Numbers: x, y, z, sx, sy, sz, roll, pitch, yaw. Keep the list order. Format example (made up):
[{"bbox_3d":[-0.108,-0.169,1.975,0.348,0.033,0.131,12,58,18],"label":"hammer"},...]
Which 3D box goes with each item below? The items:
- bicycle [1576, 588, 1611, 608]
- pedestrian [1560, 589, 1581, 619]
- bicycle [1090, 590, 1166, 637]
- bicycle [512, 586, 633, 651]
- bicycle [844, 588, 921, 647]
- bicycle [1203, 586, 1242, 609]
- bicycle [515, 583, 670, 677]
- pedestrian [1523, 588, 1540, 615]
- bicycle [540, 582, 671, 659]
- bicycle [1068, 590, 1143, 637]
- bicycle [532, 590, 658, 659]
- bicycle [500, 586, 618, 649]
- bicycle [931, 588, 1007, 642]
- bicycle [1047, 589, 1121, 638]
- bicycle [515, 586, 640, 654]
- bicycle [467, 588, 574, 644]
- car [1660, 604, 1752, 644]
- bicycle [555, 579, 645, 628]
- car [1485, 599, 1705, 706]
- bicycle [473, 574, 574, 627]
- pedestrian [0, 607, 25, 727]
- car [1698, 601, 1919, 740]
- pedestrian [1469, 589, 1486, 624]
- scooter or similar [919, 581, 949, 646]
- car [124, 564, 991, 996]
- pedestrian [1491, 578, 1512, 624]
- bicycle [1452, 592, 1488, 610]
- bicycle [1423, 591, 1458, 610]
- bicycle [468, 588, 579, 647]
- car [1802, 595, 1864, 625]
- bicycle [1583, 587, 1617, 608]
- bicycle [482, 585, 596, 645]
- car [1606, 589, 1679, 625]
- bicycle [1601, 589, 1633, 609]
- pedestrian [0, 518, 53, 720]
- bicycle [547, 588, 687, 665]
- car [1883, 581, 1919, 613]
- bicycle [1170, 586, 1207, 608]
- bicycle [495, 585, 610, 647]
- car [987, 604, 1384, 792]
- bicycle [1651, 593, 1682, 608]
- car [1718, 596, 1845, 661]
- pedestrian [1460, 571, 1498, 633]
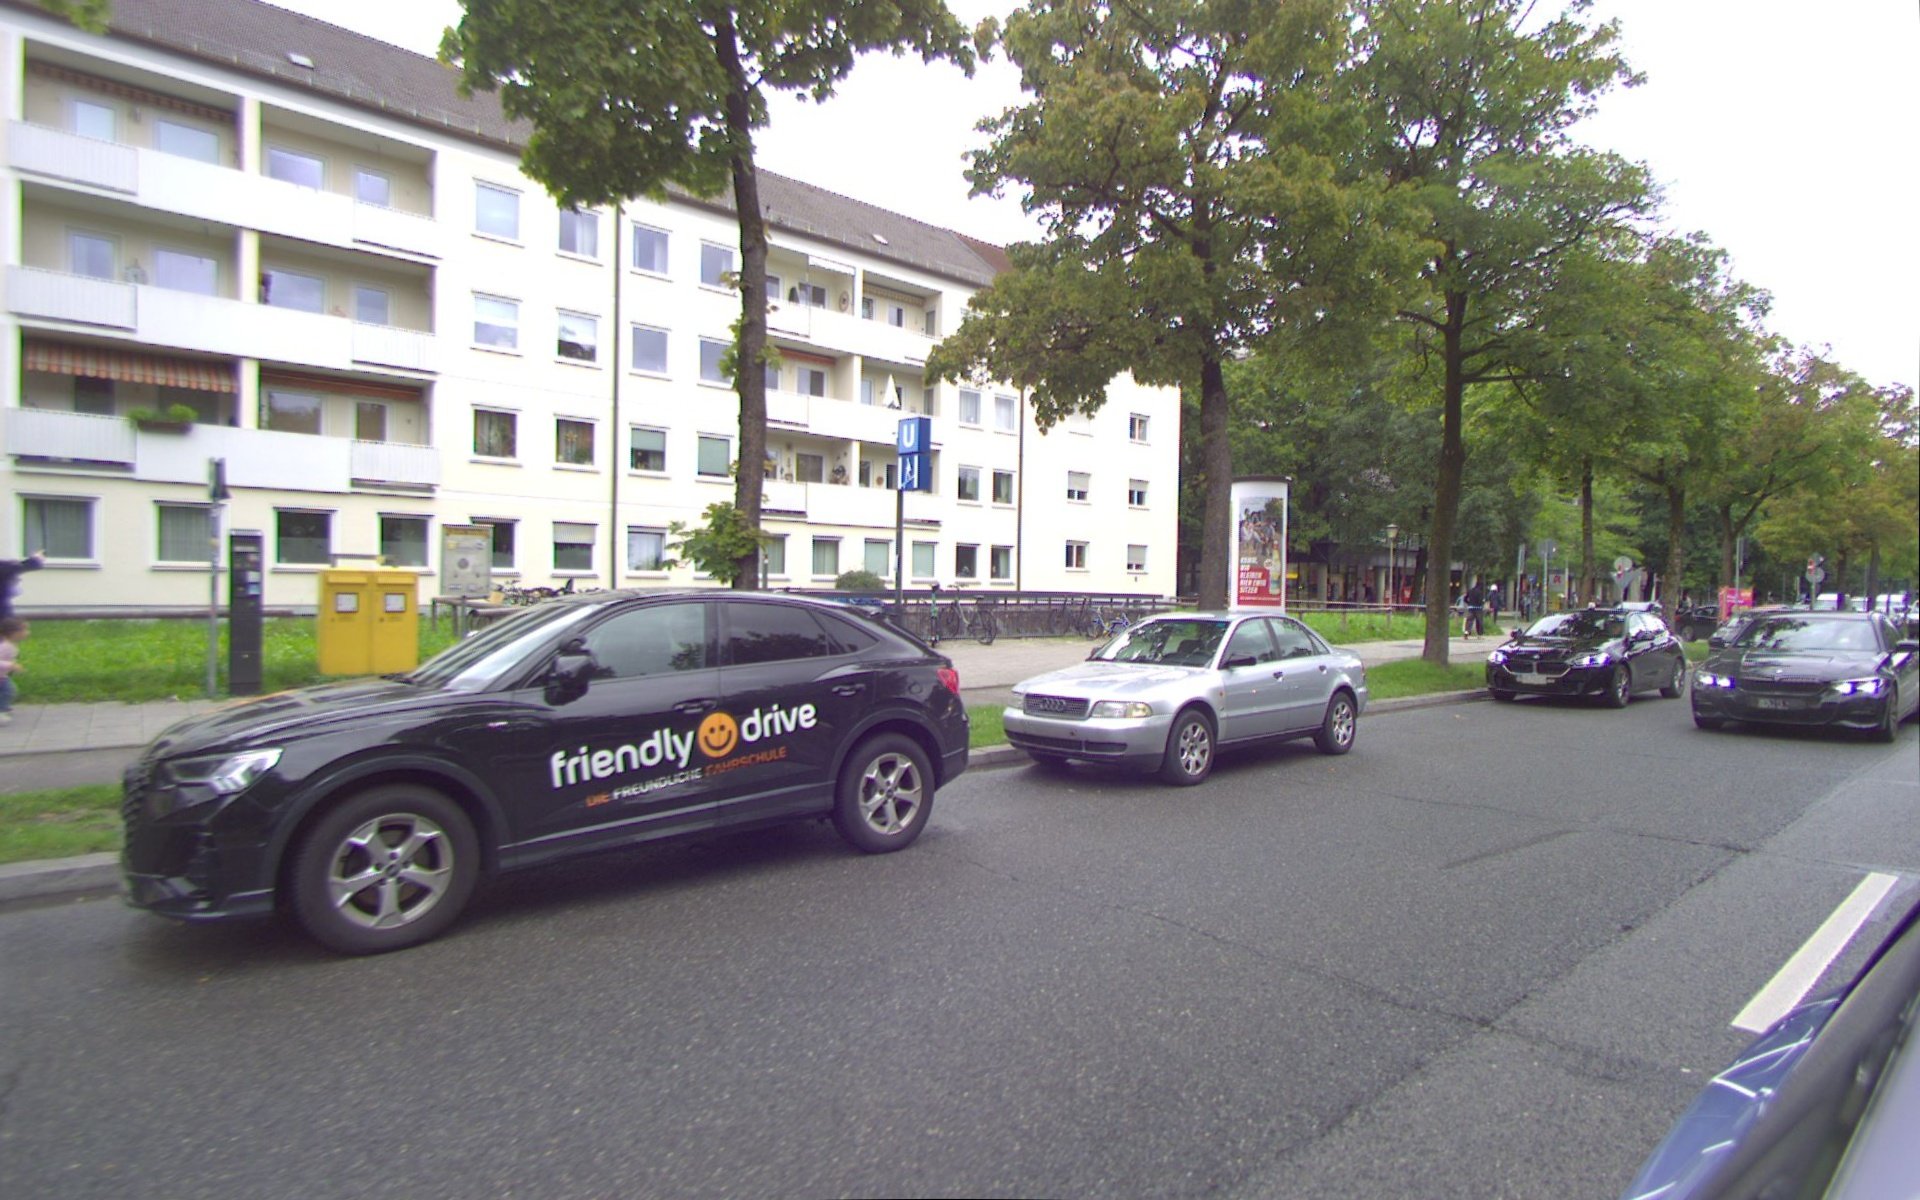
[{"bbox_3d":[51.215,-0.138,81.803,0.638,1.551,2.312,1,1,-40],"label":"bicycle"},{"bbox_3d":[34.530,0.224,57.222,0.738,1.614,0.660,1,1,-22],"label":"pedestrian"},{"bbox_3d":[4.055,0.304,24.573,1.877,1.041,0.426,3,2,43],"label":"bicycle"},{"bbox_3d":[-6.501,0.302,17.027,1.850,1.041,0.432,1,1,-40],"label":"bicycle"},{"bbox_3d":[-1.540,0.317,19.796,0.425,1.041,1.880,0,2,-43],"label":"bicycle"},{"bbox_3d":[11.766,-0.133,45.340,0.448,0.983,1.693,1,1,-43],"label":"bicycle"},{"bbox_3d":[-4.793,0.382,13.284,1.850,1.147,0.432,1,1,-40],"label":"bicycle"},{"bbox_3d":[34.060,0.092,60.350,0.621,1.561,0.659,2,2,8],"label":"pedestrian"},{"bbox_3d":[-5.453,0.304,15.635,1.850,1.115,0.432,1,1,-40],"label":"bicycle"},{"bbox_3d":[3.491,0.299,24.393,1.878,1.041,0.426,3,2,45],"label":"bicycle"},{"bbox_3d":[-5.831,0.373,16.239,1.850,1.041,0.432,1,1,-40],"label":"bicycle"},{"bbox_3d":[-6.962,0.295,17.643,1.850,1.041,0.432,1,1,-40],"label":"bicycle"},{"bbox_3d":[0.176,0.302,21.439,0.425,1.041,1.880,0,2,-43],"label":"bicycle"},{"bbox_3d":[2.903,0.303,23.772,0.425,1.041,1.880,0,2,-43],"label":"bicycle"},{"bbox_3d":[-6.250,0.319,16.605,1.850,1.041,0.432,1,1,-40],"label":"bicycle"},{"bbox_3d":[-8.551,0.308,19.748,1.850,1.041,0.432,1,1,-40],"label":"bicycle"},{"bbox_3d":[27.763,0.847,37.635,4.273,1.397,1.726,0,0,-39],"label":"car"},{"bbox_3d":[-8.020,0.085,22.607,1.850,1.041,0.432,1,1,-40],"label":"bicycle"},{"bbox_3d":[10.118,0.734,16.027,4.101,1.484,1.754,0,-1,-40],"label":"car"},{"bbox_3d":[-8.986,0.020,20.882,1.850,1.041,0.432,1,1,-40],"label":"bicycle"},{"bbox_3d":[-7.992,0.543,8.326,0.427,0.961,0.408,0,1,-41],"label":"pedestrian"},{"bbox_3d":[10.794,0.739,12.560,4.385,1.431,1.761,0,-1,-42],"label":"car"},{"bbox_3d":[23.901,0.312,46.718,0.573,1.594,0.777,0,0,18],"label":"pedestrian"},{"bbox_3d":[-0.504,0.252,19.937,0.352,1.215,1.388,1,1,7],"label":"scooter or similar"},{"bbox_3d":[-1.950,0.654,5.676,4.200,1.552,1.720,0,-1,-41],"label":"car"},{"bbox_3d":[21.110,0.034,39.455,0.633,1.752,0.597,0,0,19],"label":"pedestrian"},{"bbox_3d":[33.583,0.066,66.647,0.447,1.134,2.079,1,1,-40],"label":"bicycle"},{"bbox_3d":[31.264,0.019,65.894,0.447,1.134,2.079,1,1,-40],"label":"bicycle"},{"bbox_3d":[-8.123,0.315,18.893,1.850,1.041,0.432,1,1,-40],"label":"bicycle"},{"bbox_3d":[43.859,0.467,50.812,4.609,1.450,1.731,0,0,-41],"label":"car"},{"bbox_3d":[52.656,-0.197,83.299,0.638,1.643,2.312,1,1,-40],"label":"bicycle"},{"bbox_3d":[-7.618,0.267,18.374,1.850,1.041,0.432,1,1,-40],"label":"bicycle"},{"bbox_3d":[33.738,0.347,49.990,4.121,1.654,1.827,0,2,-38],"label":"car"},{"bbox_3d":[56.197,-0.115,86.584,2.299,1.643,0.641,2,1,34],"label":"bicycle"},{"bbox_3d":[-8.441,0.146,8.788,0.820,1.702,0.840,0,1,-41],"label":"pedestrian"},{"bbox_3d":[-4.907,0.367,14.565,1.850,1.041,0.432,1,1,-40],"label":"bicycle"},{"bbox_3d":[82.840,-0.265,88.863,5.900,2.691,1.976,0,-1,-41],"label":"car"},{"bbox_3d":[10.524,-0.152,46.622,0.448,0.983,1.693,1,1,-43],"label":"bicycle"},{"bbox_3d":[-7.241,0.276,18.047,1.850,1.041,0.432,1,1,-40],"label":"bicycle"},{"bbox_3d":[2.301,0.741,9.589,4.173,1.403,1.637,0,-1,-44],"label":"car"},{"bbox_3d":[65.902,0.011,94.397,0.637,1.318,2.313,1,1,-38],"label":"bicycle"},{"bbox_3d":[20.531,0.669,25.242,4.041,1.484,1.685,0,-1,-40],"label":"car"},{"bbox_3d":[15.076,0.053,29.389,0.834,1.771,0.641,1,2,-40],"label":"pedestrian"}]
